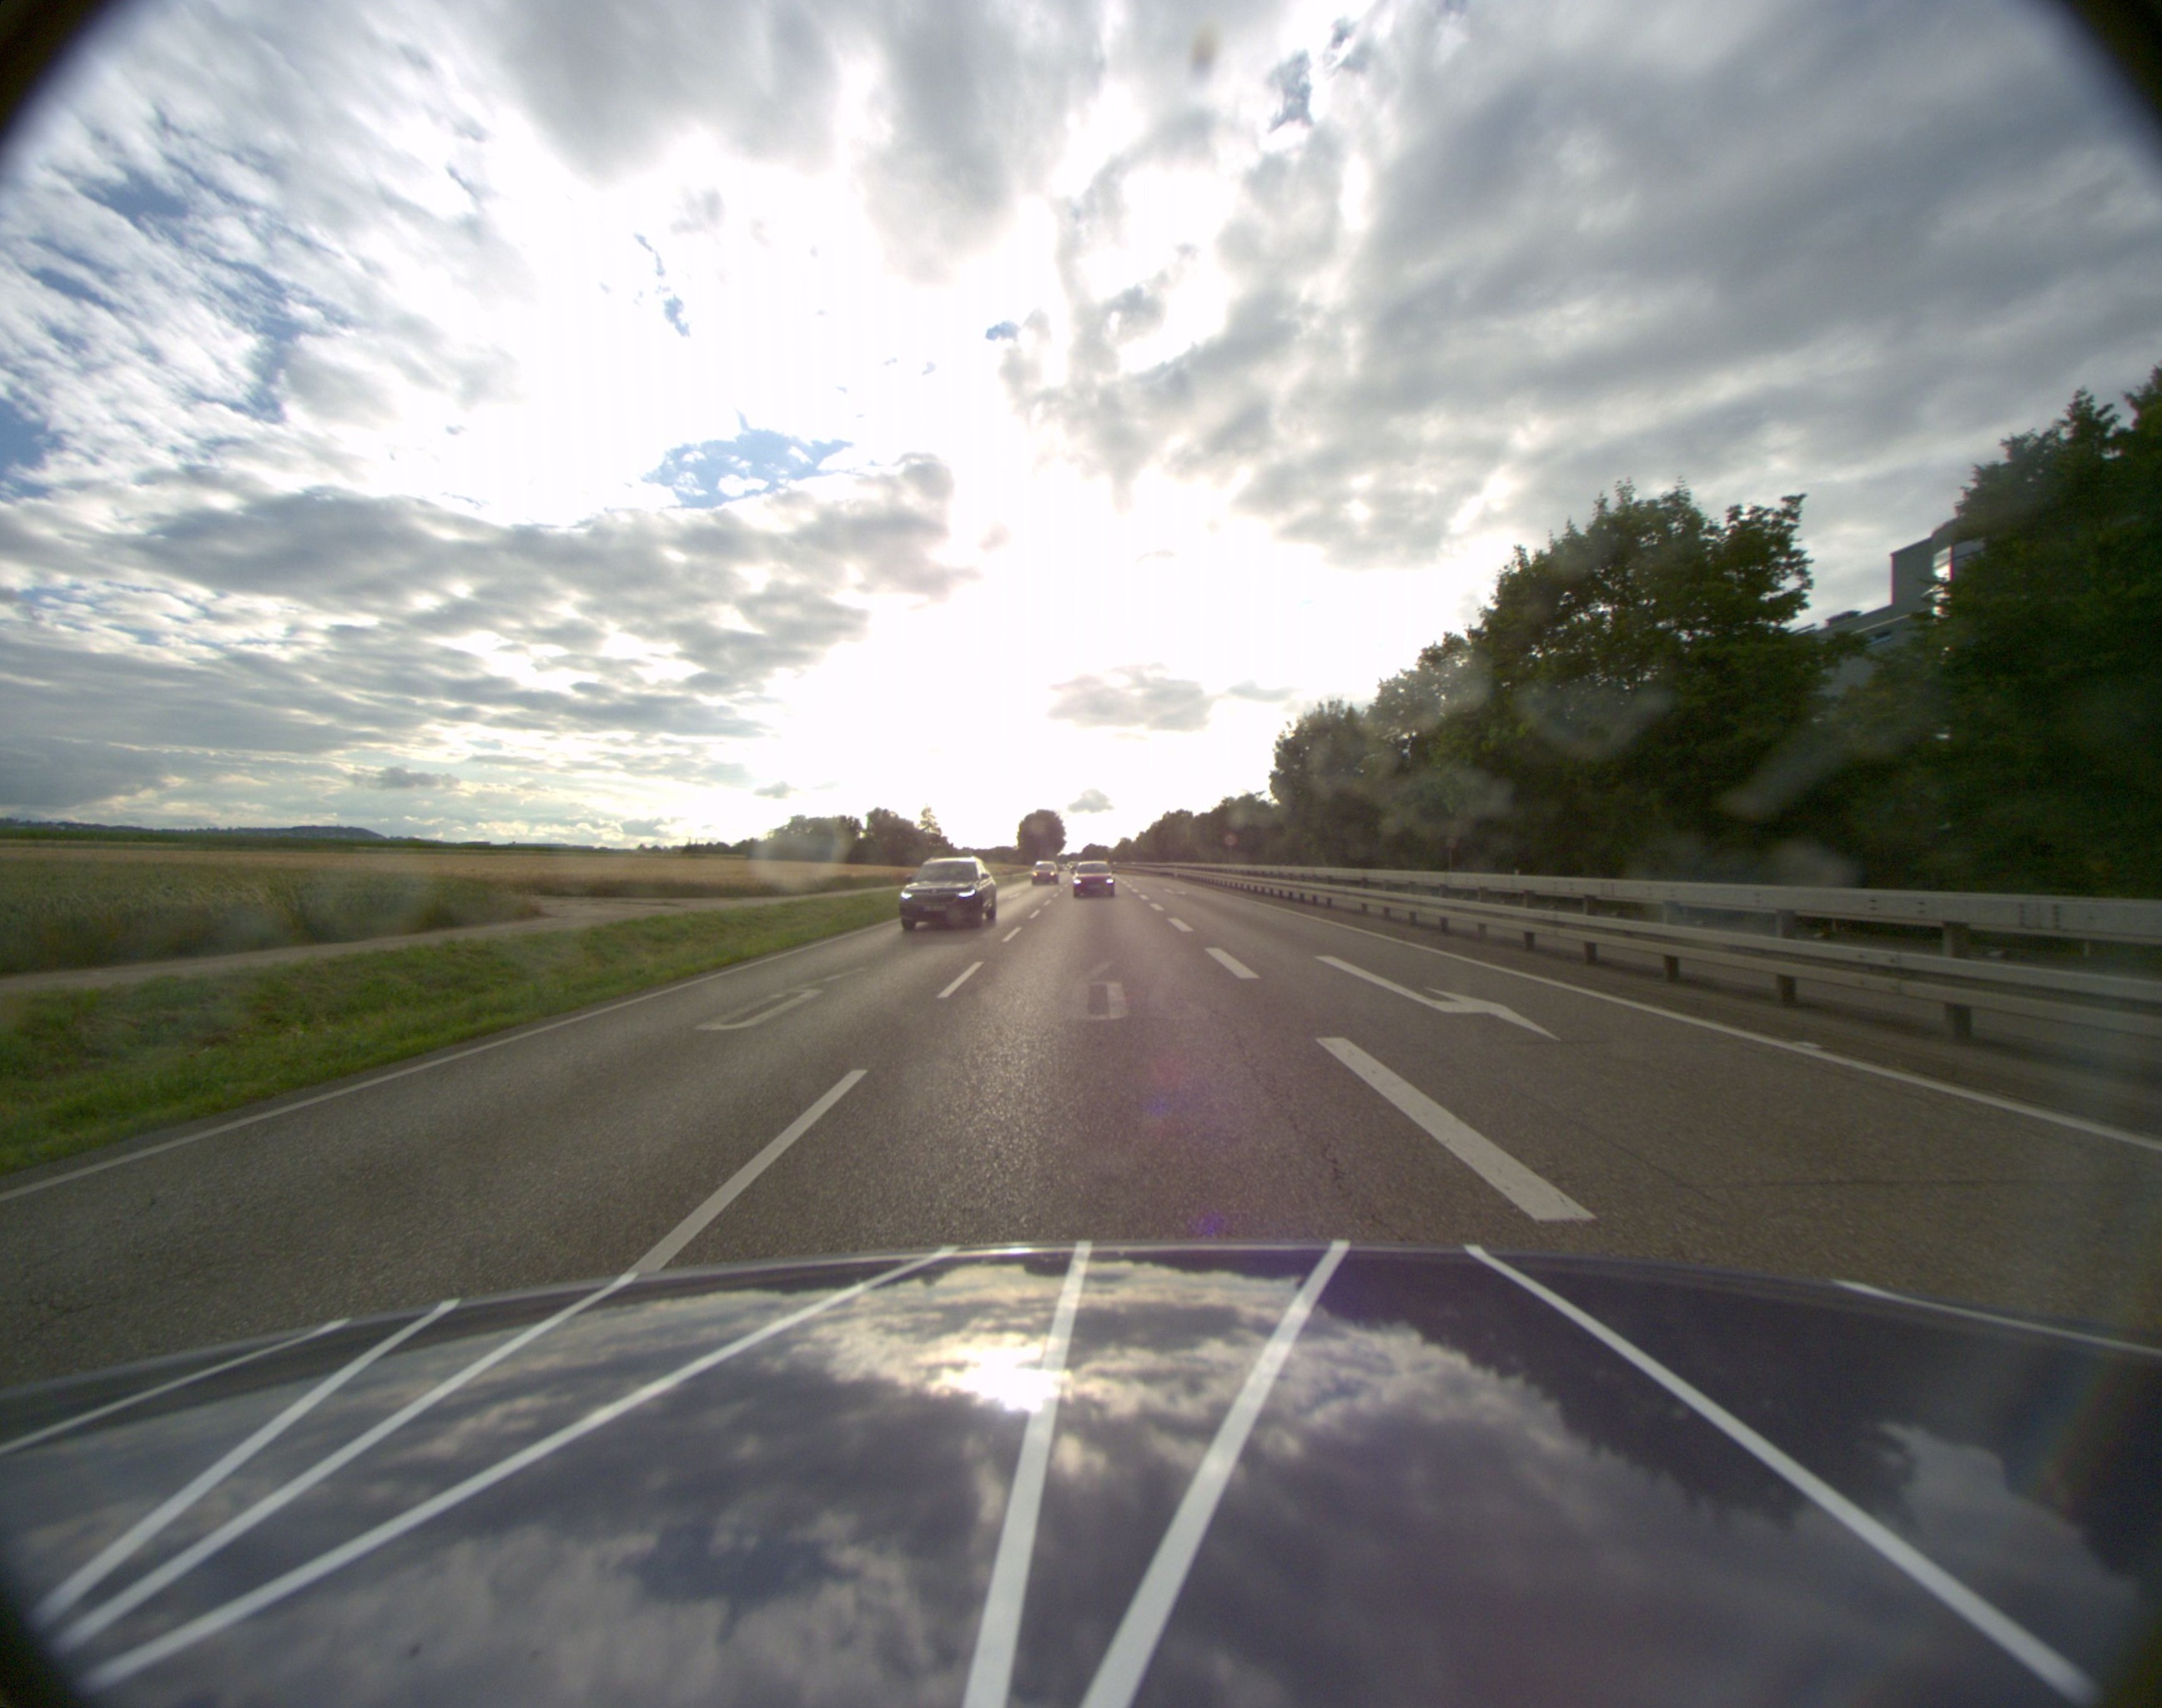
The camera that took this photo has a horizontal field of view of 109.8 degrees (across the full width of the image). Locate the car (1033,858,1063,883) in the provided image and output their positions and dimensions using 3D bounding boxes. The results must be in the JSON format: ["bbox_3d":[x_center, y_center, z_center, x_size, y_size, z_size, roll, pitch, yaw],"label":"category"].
[{"bbox_3d":[-2.200,1.074,50.883,1.712,1.448,3.908,-2,1,1],"label":"car"}]

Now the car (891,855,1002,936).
[{"bbox_3d":[-3.225,0.923,19.136,1.841,1.698,4.556,-2,1,1],"label":"car"}]

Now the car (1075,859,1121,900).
[{"bbox_3d":[0.679,1.004,31.234,1.712,1.448,4.061,-2,1,1],"label":"car"}]

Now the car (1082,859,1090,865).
[{"bbox_3d":[1.429,2.300,209.283,1.712,1.448,4.060,-2,1,-4],"label":"car"}]

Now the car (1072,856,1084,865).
[{"bbox_3d":[-0.532,1.070,128.552,1.799,1.448,4.032,-2,0,1],"label":"car"}]
